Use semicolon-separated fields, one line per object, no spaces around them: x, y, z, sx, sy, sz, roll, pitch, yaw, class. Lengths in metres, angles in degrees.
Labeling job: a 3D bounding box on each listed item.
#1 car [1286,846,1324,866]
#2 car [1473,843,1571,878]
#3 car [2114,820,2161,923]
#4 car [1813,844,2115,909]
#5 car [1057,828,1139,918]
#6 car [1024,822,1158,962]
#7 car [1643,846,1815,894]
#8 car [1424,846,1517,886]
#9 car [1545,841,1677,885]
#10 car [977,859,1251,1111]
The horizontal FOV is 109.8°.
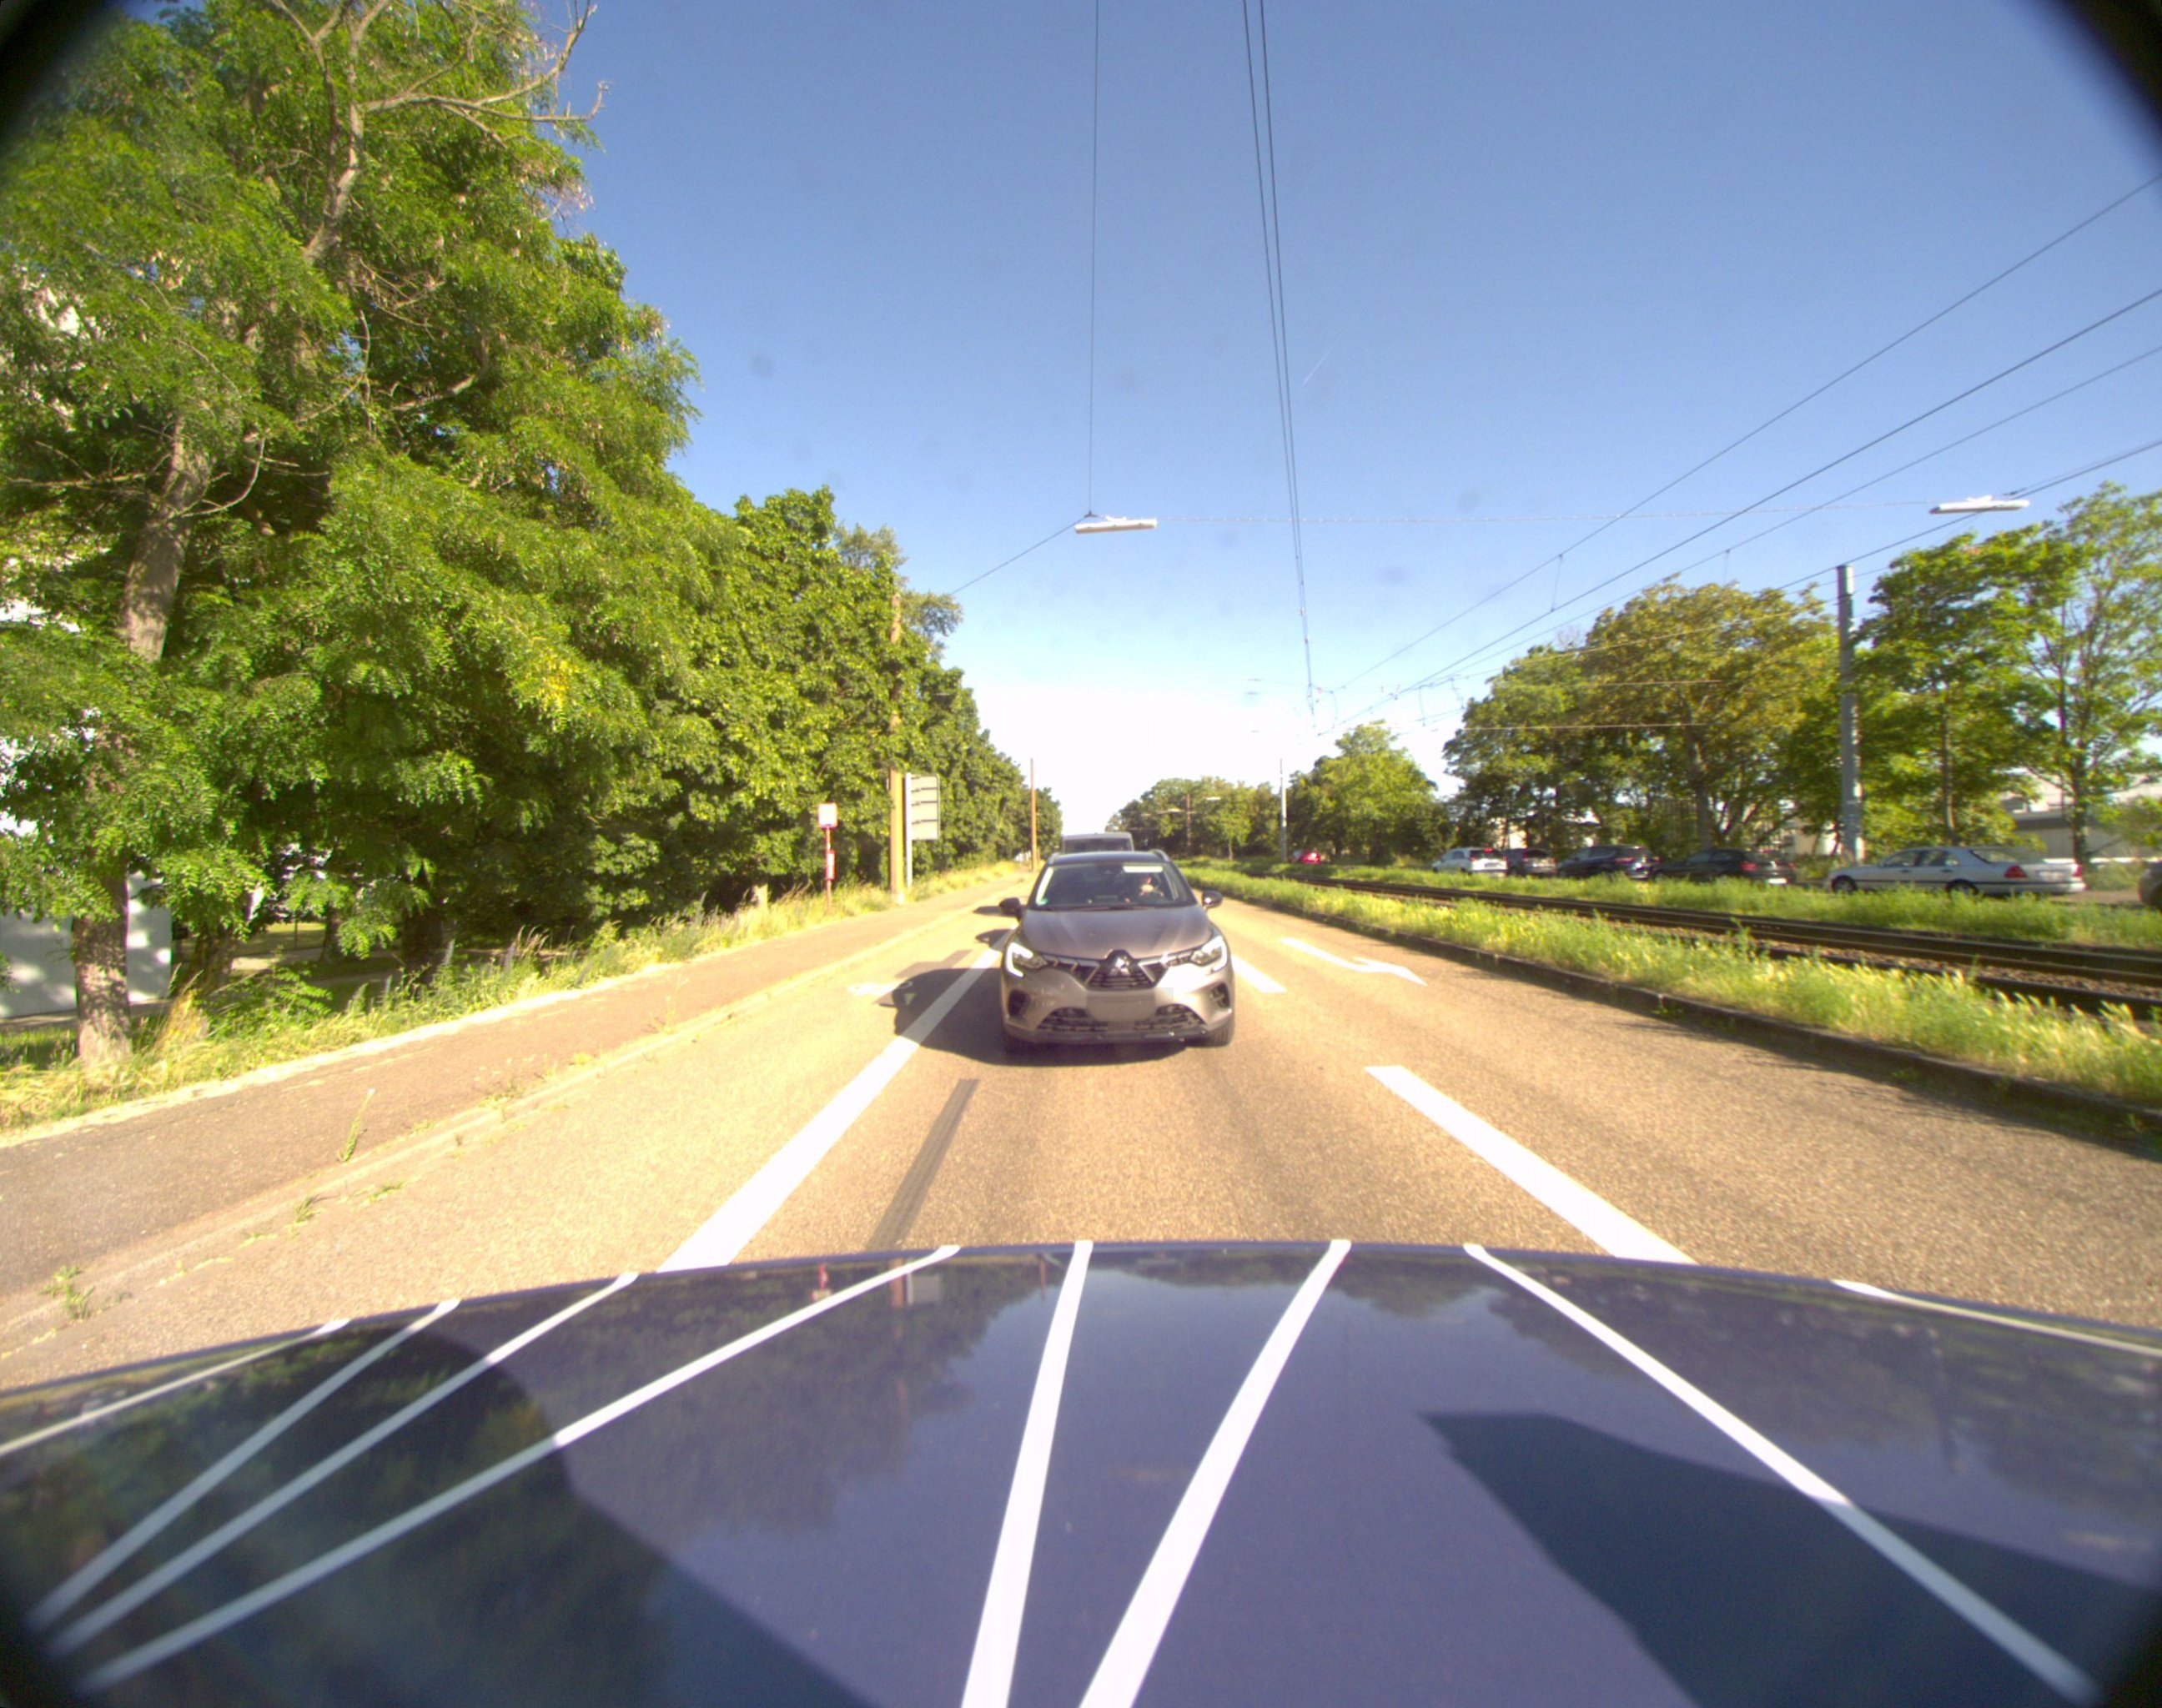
21.005;0.188;71.462;2.321;1.723;4.798;-2;0;3;car
21.568;0.328;37.403;2.130;1.554;4.560;-2;0;0;car
21.240;0.290;12.477;2.207;1.923;4.685;-2;0;2;car
21.547;0.506;18.929;2.130;1.372;4.616;-2;0;-1;car
0.365;0.502;21.053;1.999;2.198;4.786;-1;-1;-1;car
0.179;0.594;13.747;1.998;2.113;4.000;-2;0;1;car
21.347;0.490;25.323;1.960;1.417;4.488;-2;0;1;car
16.618;0.497;32.657;1.859;1.548;4.157;-2;0;1;car
21.309;0.343;30.820;2.130;1.578;4.616;-2;0;1;car
0.181;0.883;7.314;1.796;1.583;4.529;-1;0;-1;car
